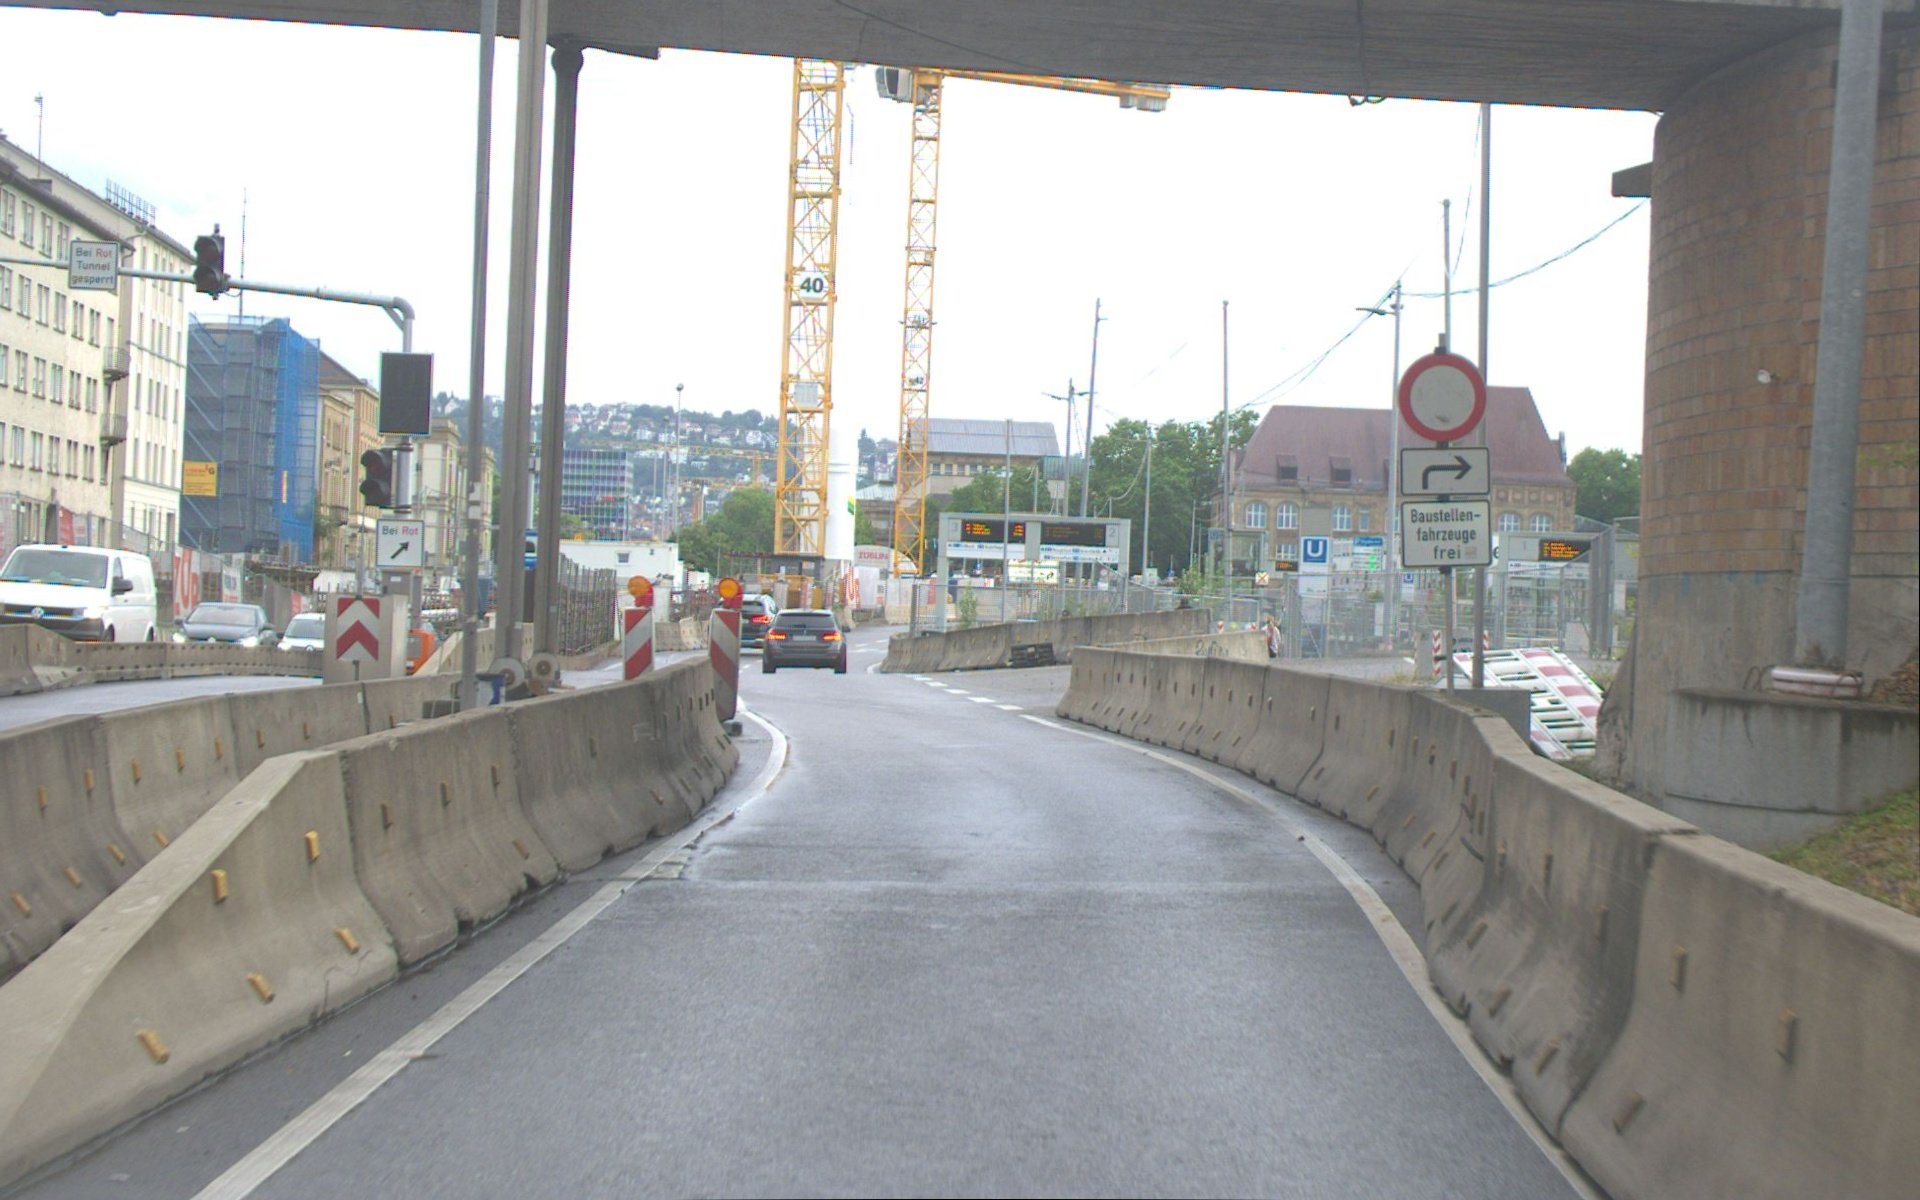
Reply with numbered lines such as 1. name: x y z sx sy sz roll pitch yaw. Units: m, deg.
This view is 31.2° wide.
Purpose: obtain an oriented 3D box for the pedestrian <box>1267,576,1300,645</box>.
1. pedestrian: 8.410 0.282 89.326 0.689 1.772 1.023 1 0 -2

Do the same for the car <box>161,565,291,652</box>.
1. car: -14.963 0.148 70.257 1.805 1.617 4.034 1 2 0

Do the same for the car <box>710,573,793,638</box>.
1. car: -5.746 0.120 95.119 1.863 1.655 4.656 2 1 1

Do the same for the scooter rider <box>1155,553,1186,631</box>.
1. scooter rider: 4.746 -0.190 77.388 0.521 1.749 0.699 1 1 17

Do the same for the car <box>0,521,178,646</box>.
1. car: -13.836 -0.304 54.294 1.805 1.815 5.301 1 2 -1

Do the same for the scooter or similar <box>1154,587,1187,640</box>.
1. scooter or similar: 4.736 0.297 77.398 0.491 1.175 1.095 1 1 17

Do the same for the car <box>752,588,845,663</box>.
1. car: -3.537 0.526 74.730 1.862 1.428 4.657 2 1 -4

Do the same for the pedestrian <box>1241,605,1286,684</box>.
1. pedestrian: 6.844 0.997 77.516 0.689 1.772 0.816 1 0 -20
